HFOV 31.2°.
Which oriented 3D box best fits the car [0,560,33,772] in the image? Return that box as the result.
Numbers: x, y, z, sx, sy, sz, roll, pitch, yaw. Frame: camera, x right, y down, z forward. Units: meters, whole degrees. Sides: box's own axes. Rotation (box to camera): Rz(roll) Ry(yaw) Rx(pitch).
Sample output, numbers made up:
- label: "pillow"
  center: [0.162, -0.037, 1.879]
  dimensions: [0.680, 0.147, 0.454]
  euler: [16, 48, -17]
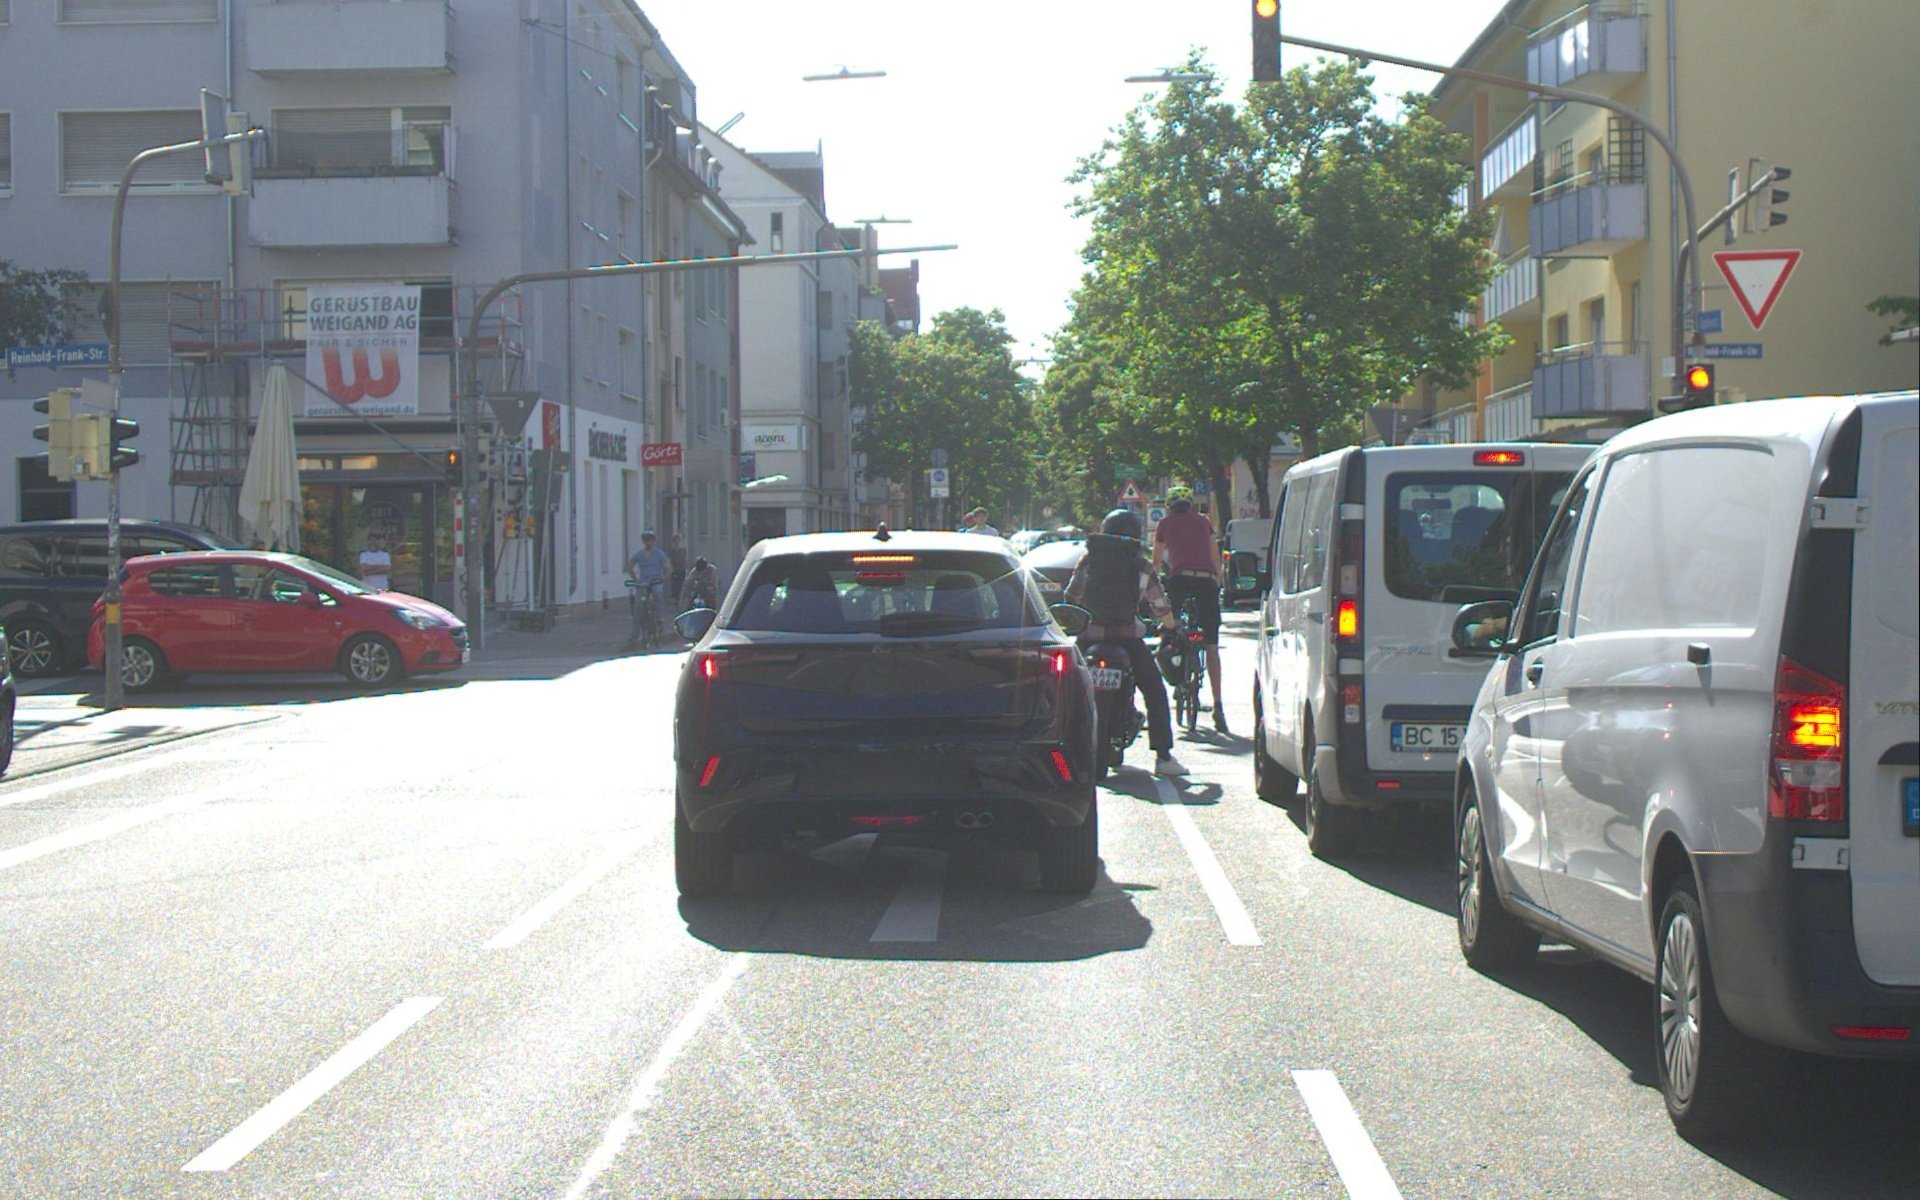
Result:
- label: "car"
  center: [-7.287, 0.454, 22.045]
  dimensions: [1.616, 1.420, 3.710]
  euler: [2, 1, 1]

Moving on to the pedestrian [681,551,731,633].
- label: "pedestrian"
  center: [-3.927, -0.130, 53.244]
  dimensions: [0.707, 1.249, 0.802]
  euler: [-1, 1, -1]

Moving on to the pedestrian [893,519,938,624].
- label: "pedestrian"
  center: [-0.683, -0.450, 53.036]
  dimensions: [0.680, 1.600, 0.762]
  euler: [-1, 1, -1]

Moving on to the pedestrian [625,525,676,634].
- label: "pedestrian"
  center: [-4.803, -0.325, 53.322]
  dimensions: [0.707, 1.672, 0.802]
  euler: [-1, 1, -1]

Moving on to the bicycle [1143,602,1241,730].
- label: "bicycle"
  center: [1.801, 0.496, 26.936]
  dimensions: [0.577, 0.901, 2.301]
  euler: [-1, 1, -1]

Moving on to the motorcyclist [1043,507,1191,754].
- label: "motorcyclist"
  center: [0.974, 0.173, 21.551]
  dimensions: [0.864, 1.497, 1.160]
  euler: [-1, 1, 0]

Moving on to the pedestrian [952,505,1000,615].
- label: "pedestrian"
  center: [0.245, -0.622, 53.213]
  dimensions: [0.707, 1.695, 0.802]
  euler: [-1, 1, -1]

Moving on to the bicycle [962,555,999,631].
- label: "bicycle"
  center: [0.308, -0.120, 53.313]
  dimensions: [0.521, 1.143, 2.170]
  euler: [-1, 1, -1]

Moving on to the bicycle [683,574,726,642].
- label: "bicycle"
  center: [-3.969, 0.114, 53.492]
  dimensions: [0.521, 0.989, 2.339]
  euler: [-1, 1, -1]

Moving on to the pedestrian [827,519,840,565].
- label: "pedestrian"
  center: [-4.658, -2.139, 126.529]
  dimensions: [0.402, 1.669, 0.418]
  euler: [-1, 1, 1]

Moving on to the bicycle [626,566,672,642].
- label: "bicycle"
  center: [-4.834, 0.050, 53.524]
  dimensions: [0.521, 1.143, 2.284]
  euler: [-1, 1, -1]

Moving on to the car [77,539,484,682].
- label: "car"
  center: [-7.291, 0.101, 37.140]
  dimensions: [3.987, 1.459, 1.831]
  euler: [-1, 1, 2]

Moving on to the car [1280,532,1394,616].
- label: "car"
  center: [6.670, -0.489, 61.147]
  dimensions: [1.634, 1.428, 4.000]
  euler: [-1, 1, 1]

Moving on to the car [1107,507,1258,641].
- label: "car"
  center: [2.975, -0.382, 46.661]
  dimensions: [1.902, 1.722, 4.000]
  euler: [-1, 1, 2]

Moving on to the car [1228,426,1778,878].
- label: "car"
  center: [2.588, 0.181, 17.605]
  dimensions: [1.993, 1.972, 4.895]
  euler: [-1, 1, 0]

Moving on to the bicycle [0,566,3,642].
- label: "bicycle"
  center: [-15.847, 0.076, 52.879]
  dimensions: [2.094, 1.168, 0.741]
  euler: [-1, 1, -22]

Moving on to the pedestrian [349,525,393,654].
- label: "pedestrian"
  center: [-8.172, -0.150, 47.709]
  dimensions: [0.561, 1.769, 0.584]
  euler: [0, 1, -7]

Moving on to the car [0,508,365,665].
- label: "car"
  center: [-9.138, -0.174, 40.054]
  dimensions: [4.060, 1.722, 1.908]
  euler: [-1, 1, 0]

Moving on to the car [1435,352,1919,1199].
- label: "car"
  center: [2.684, 0.355, 10.024]
  dimensions: [1.836, 1.862, 4.997]
  euler: [1, 1, 0]

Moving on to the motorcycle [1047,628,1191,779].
- label: "motorcycle"
  center: [0.975, 0.629, 21.513]
  dimensions: [0.825, 0.842, 1.885]
  euler: [-1, 1, 1]

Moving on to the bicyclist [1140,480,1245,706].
- label: "bicyclist"
  center: [1.804, -0.068, 26.837]
  dimensions: [0.689, 1.707, 1.414]
  euler: [-1, 1, -1]

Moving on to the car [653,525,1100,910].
- label: "car"
  center: [-0.356, 0.431, 15.758]
  dimensions: [1.770, 1.525, 4.000]
  euler: [-1, 1, -1]
